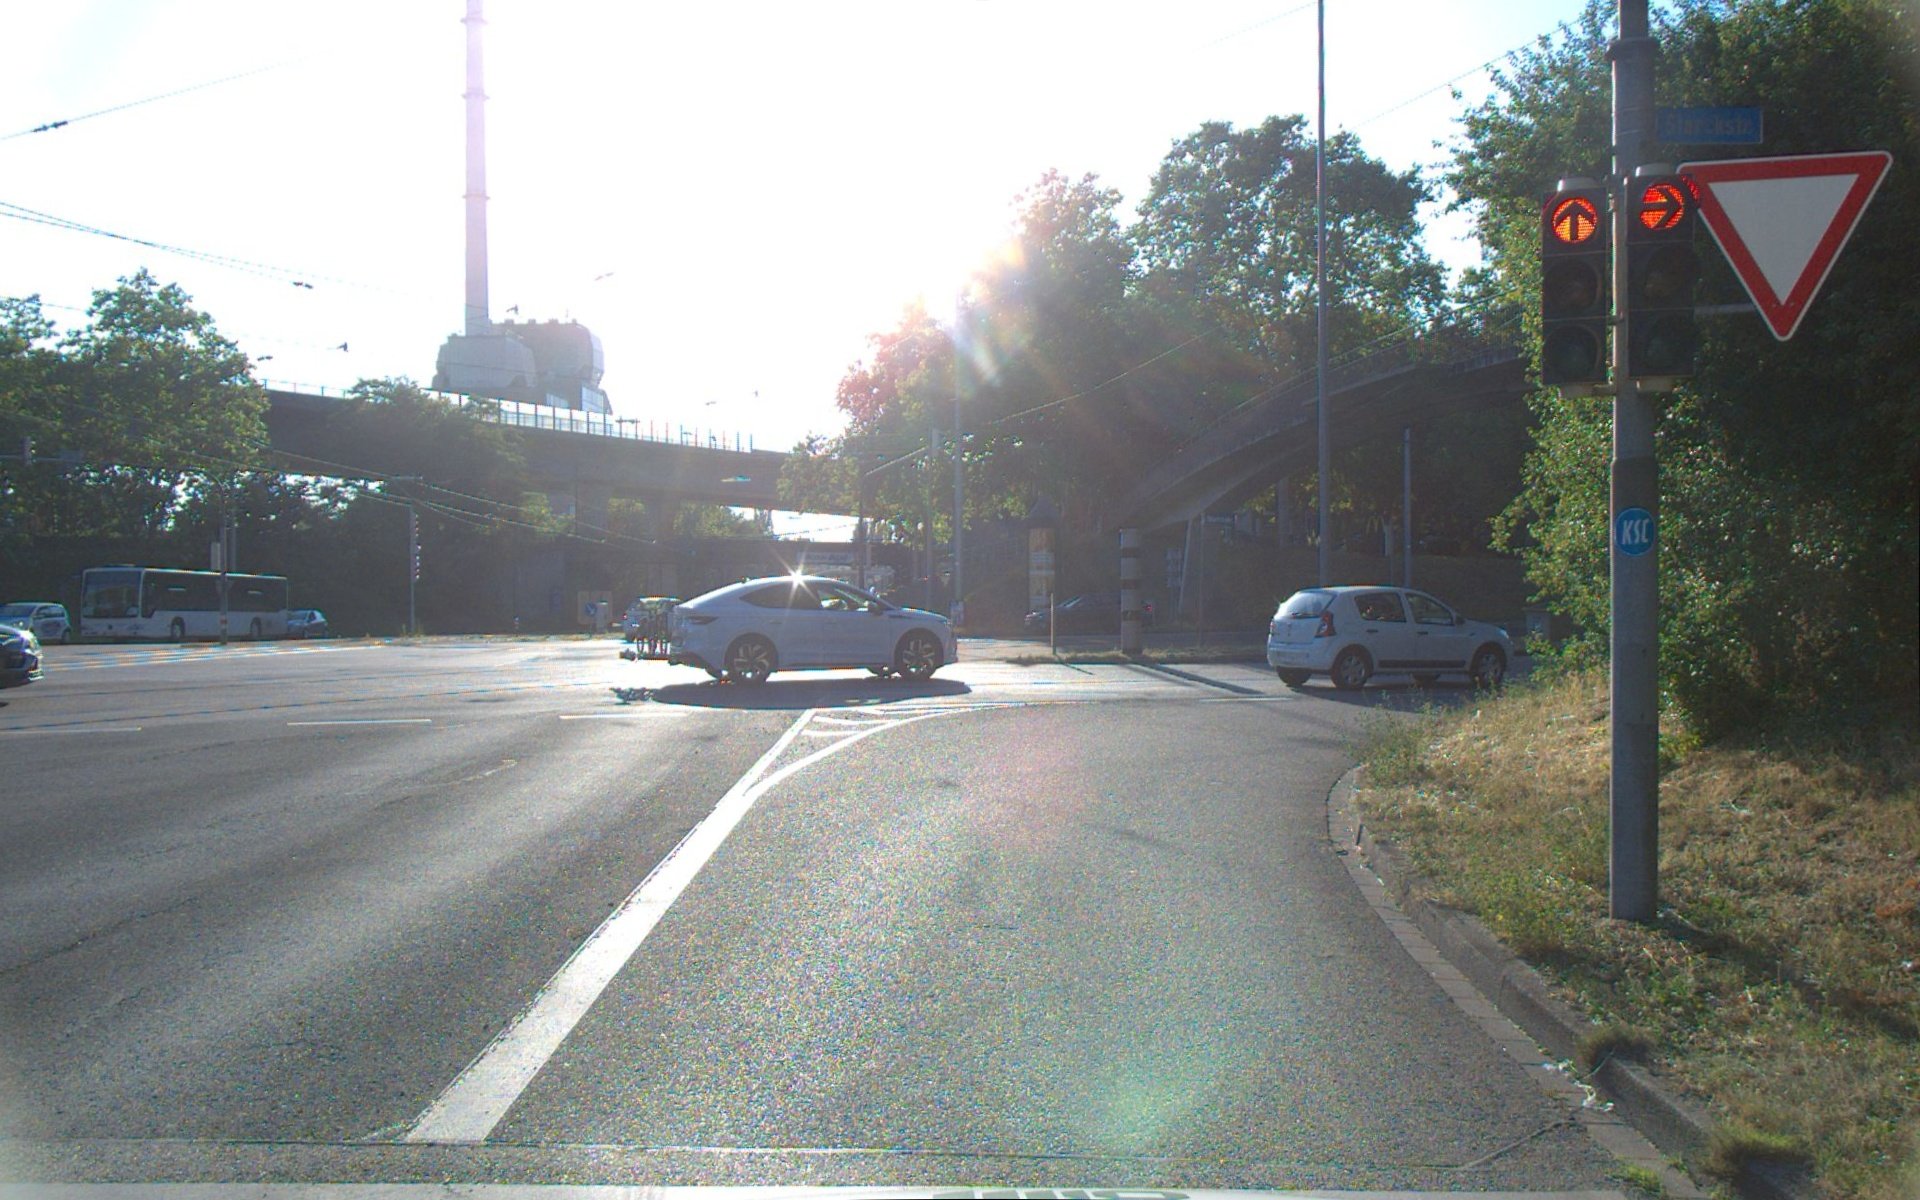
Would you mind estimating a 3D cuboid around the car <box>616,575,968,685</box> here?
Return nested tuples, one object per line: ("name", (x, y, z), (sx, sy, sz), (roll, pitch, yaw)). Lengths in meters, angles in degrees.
("car", (-2.626, 0.451, 26.046), (5.274, 1.602, 1.729), (0, 0, -22))

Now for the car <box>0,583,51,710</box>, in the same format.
("car", (-13.989, 0.577, 20.956), (4.181, 1.602, 1.680), (0, 0, -25))

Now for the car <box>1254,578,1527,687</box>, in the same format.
("car", (6.681, 0.480, 25.668), (3.932, 1.602, 1.682), (0, 0, -23))

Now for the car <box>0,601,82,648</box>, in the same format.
("car", (-32.162, 0.834, 57.242), (1.574, 1.538, 4.006), (1, 0, -3))

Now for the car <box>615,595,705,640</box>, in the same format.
("car", (-10.108, 0.575, 56.021), (1.629, 1.429, 4.200), (1, 0, 10))

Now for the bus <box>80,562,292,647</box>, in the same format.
("bus", (-32.023, 0.309, 69.311), (2.491, 3.185, 12.919), (-1, -1, 2))

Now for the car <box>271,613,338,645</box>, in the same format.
("car", (-31.707, 1.373, 80.061), (1.573, 1.444, 4.008), (1, 0, 1))

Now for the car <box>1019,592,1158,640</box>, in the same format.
("car", (4.428, 0.552, 57.144), (4.505, 1.602, 1.685), (1, 0, -18))
